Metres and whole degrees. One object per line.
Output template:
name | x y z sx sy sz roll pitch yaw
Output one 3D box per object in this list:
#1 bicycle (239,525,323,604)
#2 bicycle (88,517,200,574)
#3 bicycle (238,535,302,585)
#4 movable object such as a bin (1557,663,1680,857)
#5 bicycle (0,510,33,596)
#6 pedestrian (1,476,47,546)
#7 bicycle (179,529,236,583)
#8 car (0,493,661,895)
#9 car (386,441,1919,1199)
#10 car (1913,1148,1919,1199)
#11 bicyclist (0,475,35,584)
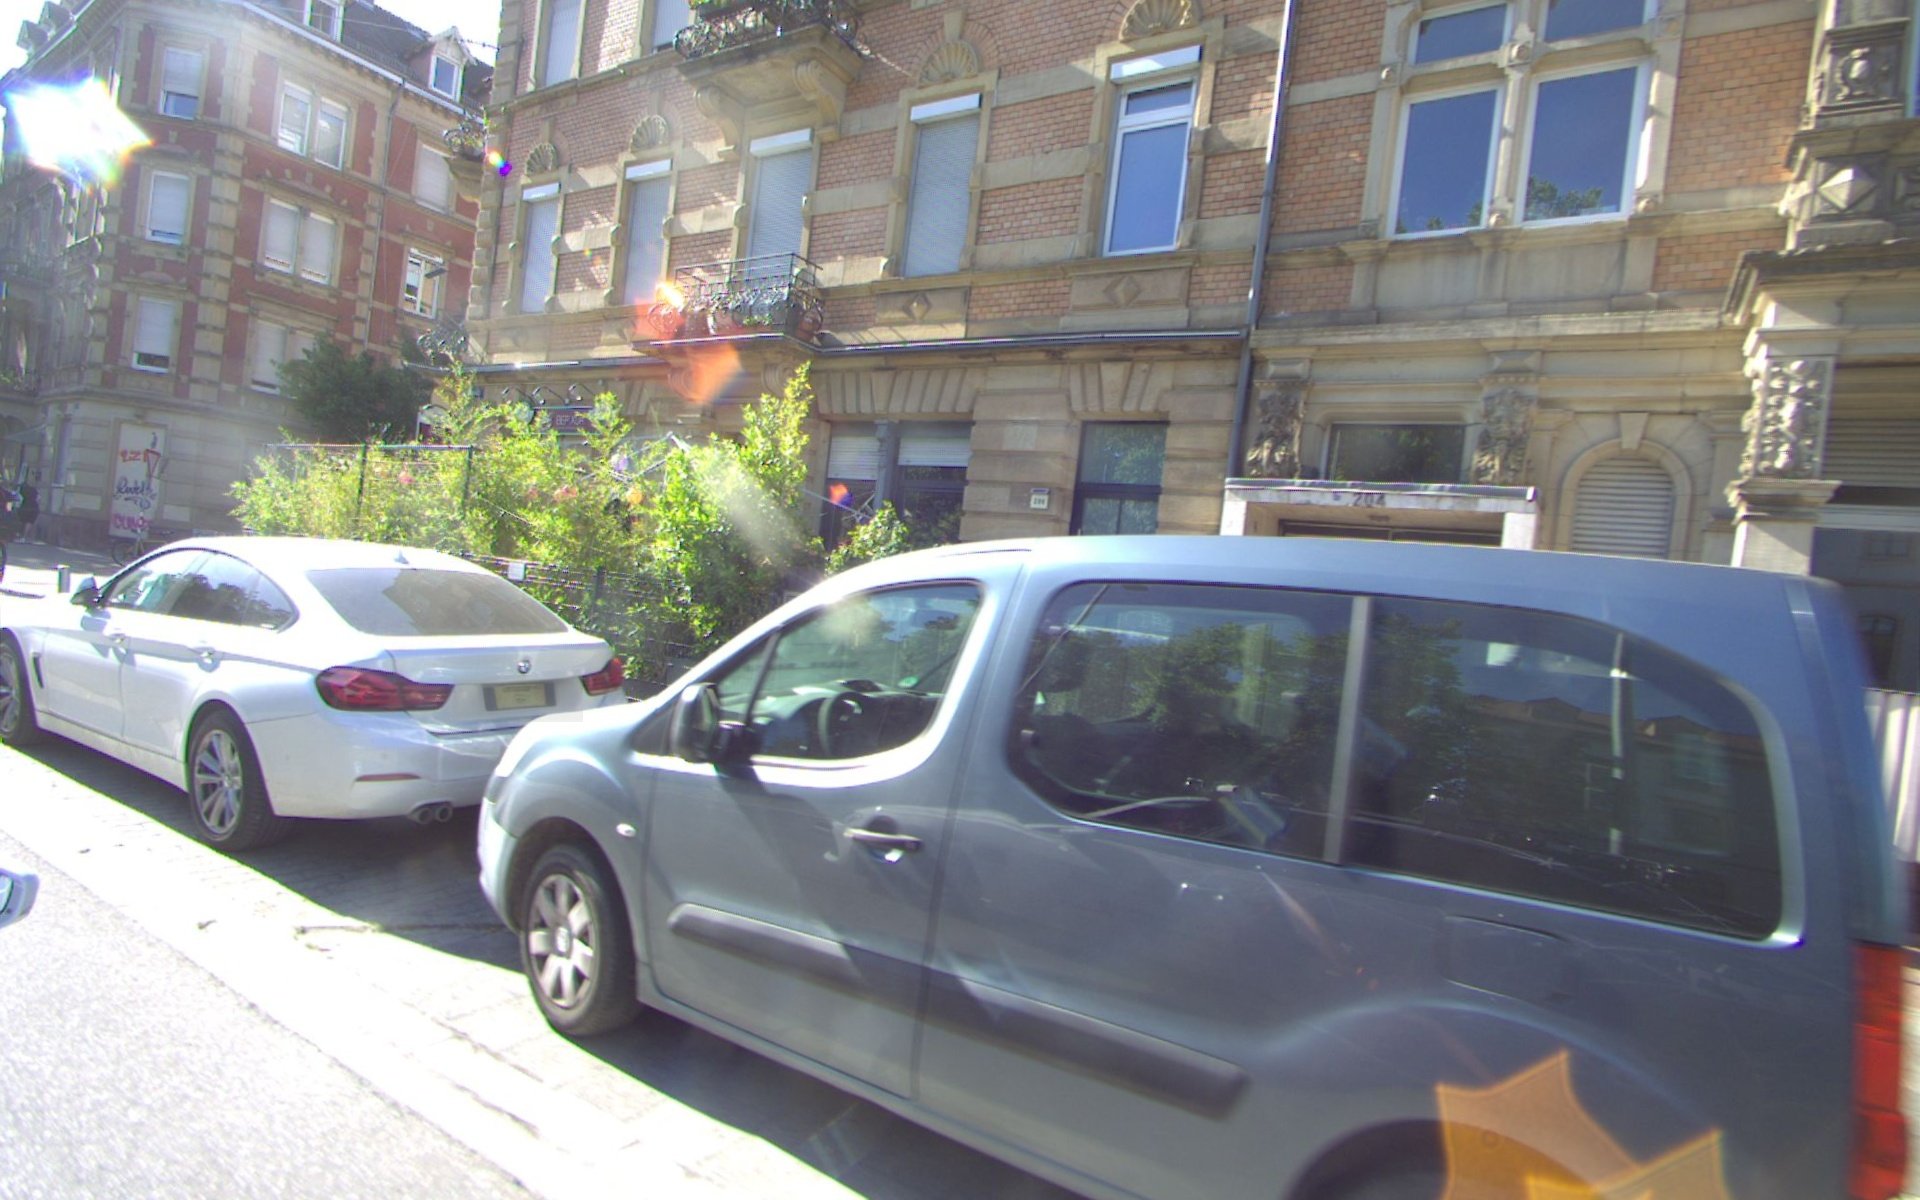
bicycle | -13.923 -0.745 20.609 2.034 1.414 0.579 7 0 33
bicycle | -20.138 -1.330 24.860 1.939 1.108 0.693 7 0 -12
bicycle | -18.876 -1.091 27.510 2.001 1.145 0.727 7 0 36
movable object such as a bin | 4.428 1.050 6.792 0.599 1.170 0.760 4 -3 33
bicycle | -15.043 -0.781 15.410 1.928 1.235 0.741 7 2 33
pedestrian | -25.871 -2.447 27.801 0.740 1.836 0.656 4 -3 36
bicycle | -19.496 -1.150 26.032 1.941 1.108 0.578 11 1 38
car | -3.895 0.319 5.887 4.136 1.443 1.711 7 1 32
car | 0.203 0.621 3.356 4.293 1.866 1.820 7 0 34
car | 3.850 1.268 0.774 4.205 1.485 1.670 7 -1 34
bicyclist | -14.923 -1.142 15.383 1.082 1.599 0.742 8 0 33
